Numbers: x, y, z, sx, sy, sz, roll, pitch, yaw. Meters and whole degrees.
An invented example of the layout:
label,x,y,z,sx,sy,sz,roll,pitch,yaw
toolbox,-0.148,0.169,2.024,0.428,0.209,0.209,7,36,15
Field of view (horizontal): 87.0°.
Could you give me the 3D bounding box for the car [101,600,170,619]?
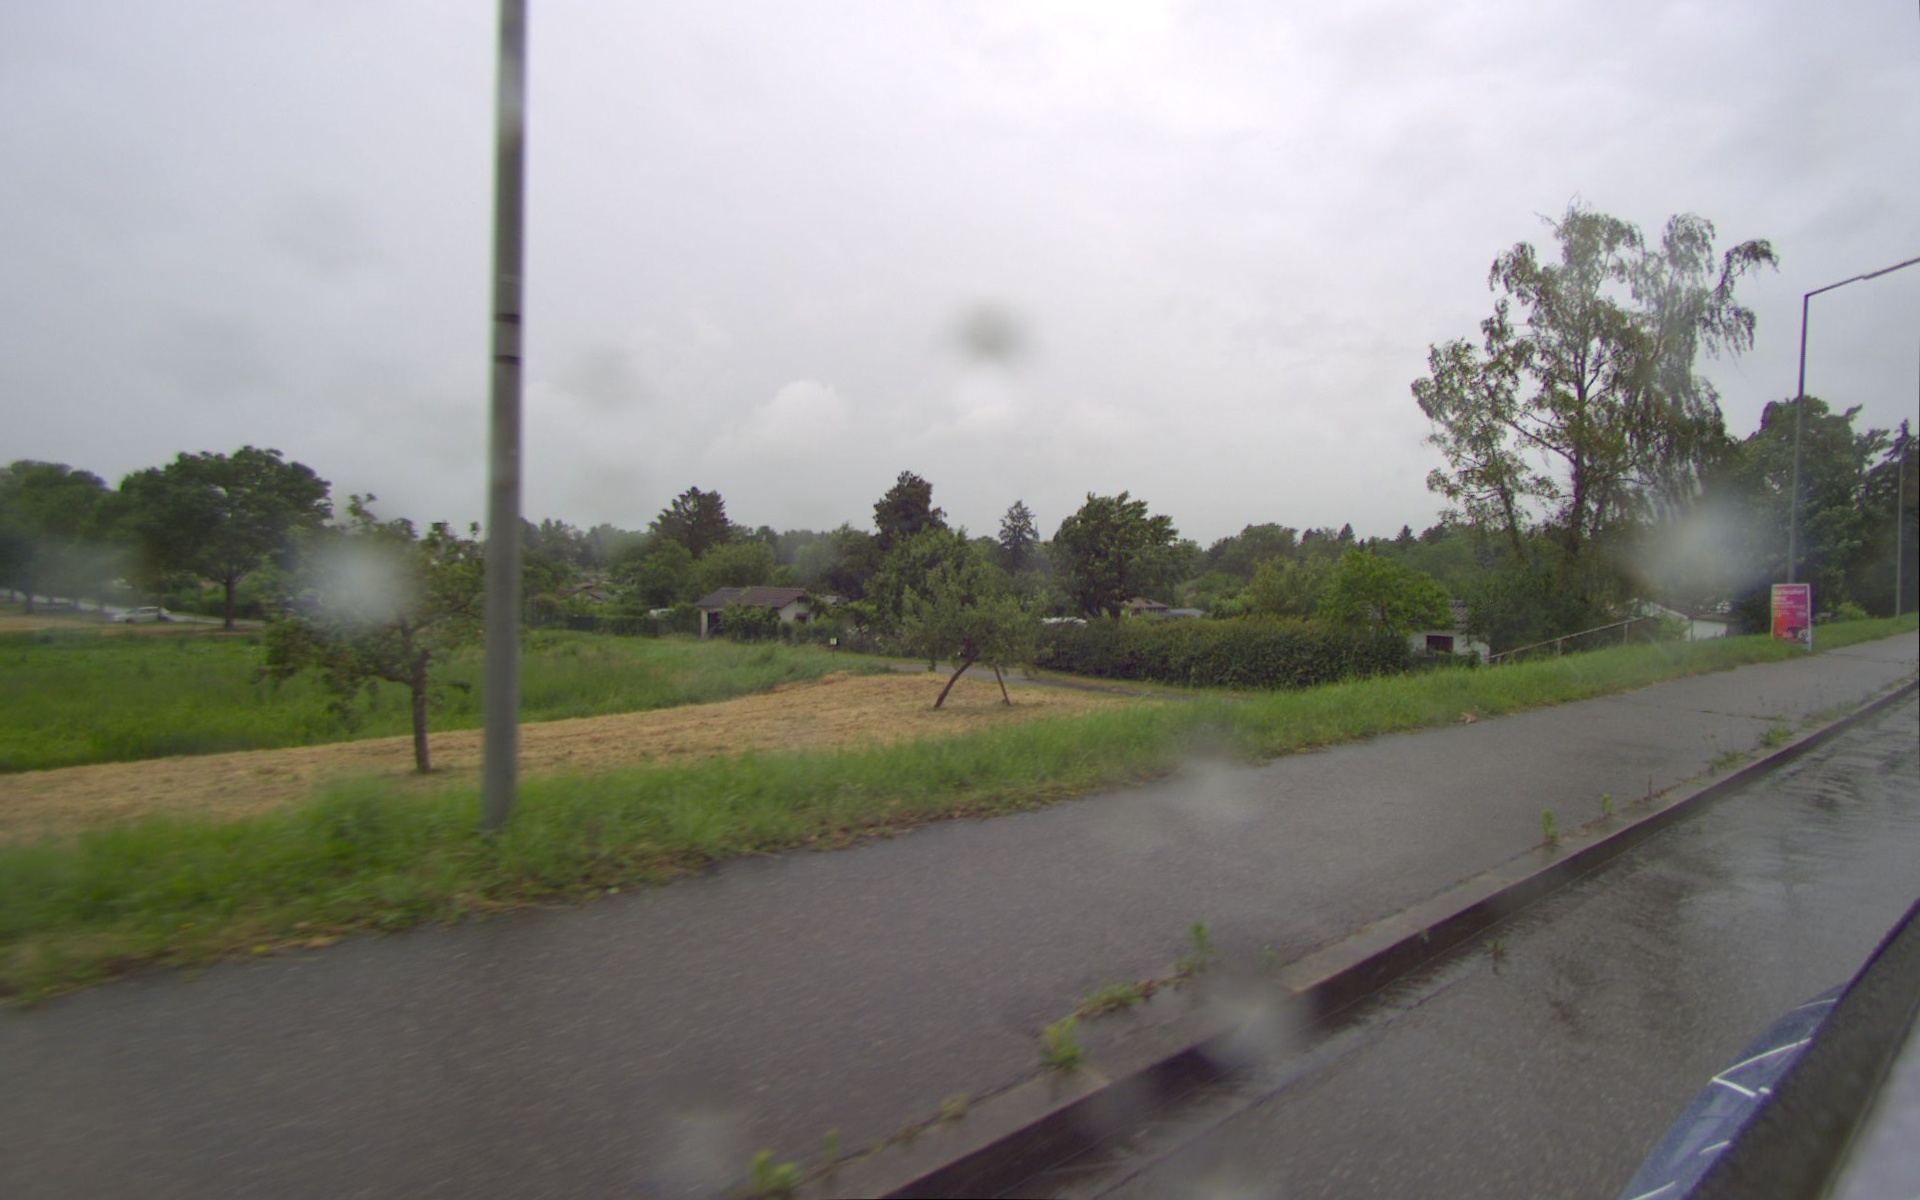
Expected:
label,x,y,z,sx,sy,sz,roll,pitch,yaw
car,-69.210,0.775,85.009,1.785,1.529,4.120,-1,0,31
